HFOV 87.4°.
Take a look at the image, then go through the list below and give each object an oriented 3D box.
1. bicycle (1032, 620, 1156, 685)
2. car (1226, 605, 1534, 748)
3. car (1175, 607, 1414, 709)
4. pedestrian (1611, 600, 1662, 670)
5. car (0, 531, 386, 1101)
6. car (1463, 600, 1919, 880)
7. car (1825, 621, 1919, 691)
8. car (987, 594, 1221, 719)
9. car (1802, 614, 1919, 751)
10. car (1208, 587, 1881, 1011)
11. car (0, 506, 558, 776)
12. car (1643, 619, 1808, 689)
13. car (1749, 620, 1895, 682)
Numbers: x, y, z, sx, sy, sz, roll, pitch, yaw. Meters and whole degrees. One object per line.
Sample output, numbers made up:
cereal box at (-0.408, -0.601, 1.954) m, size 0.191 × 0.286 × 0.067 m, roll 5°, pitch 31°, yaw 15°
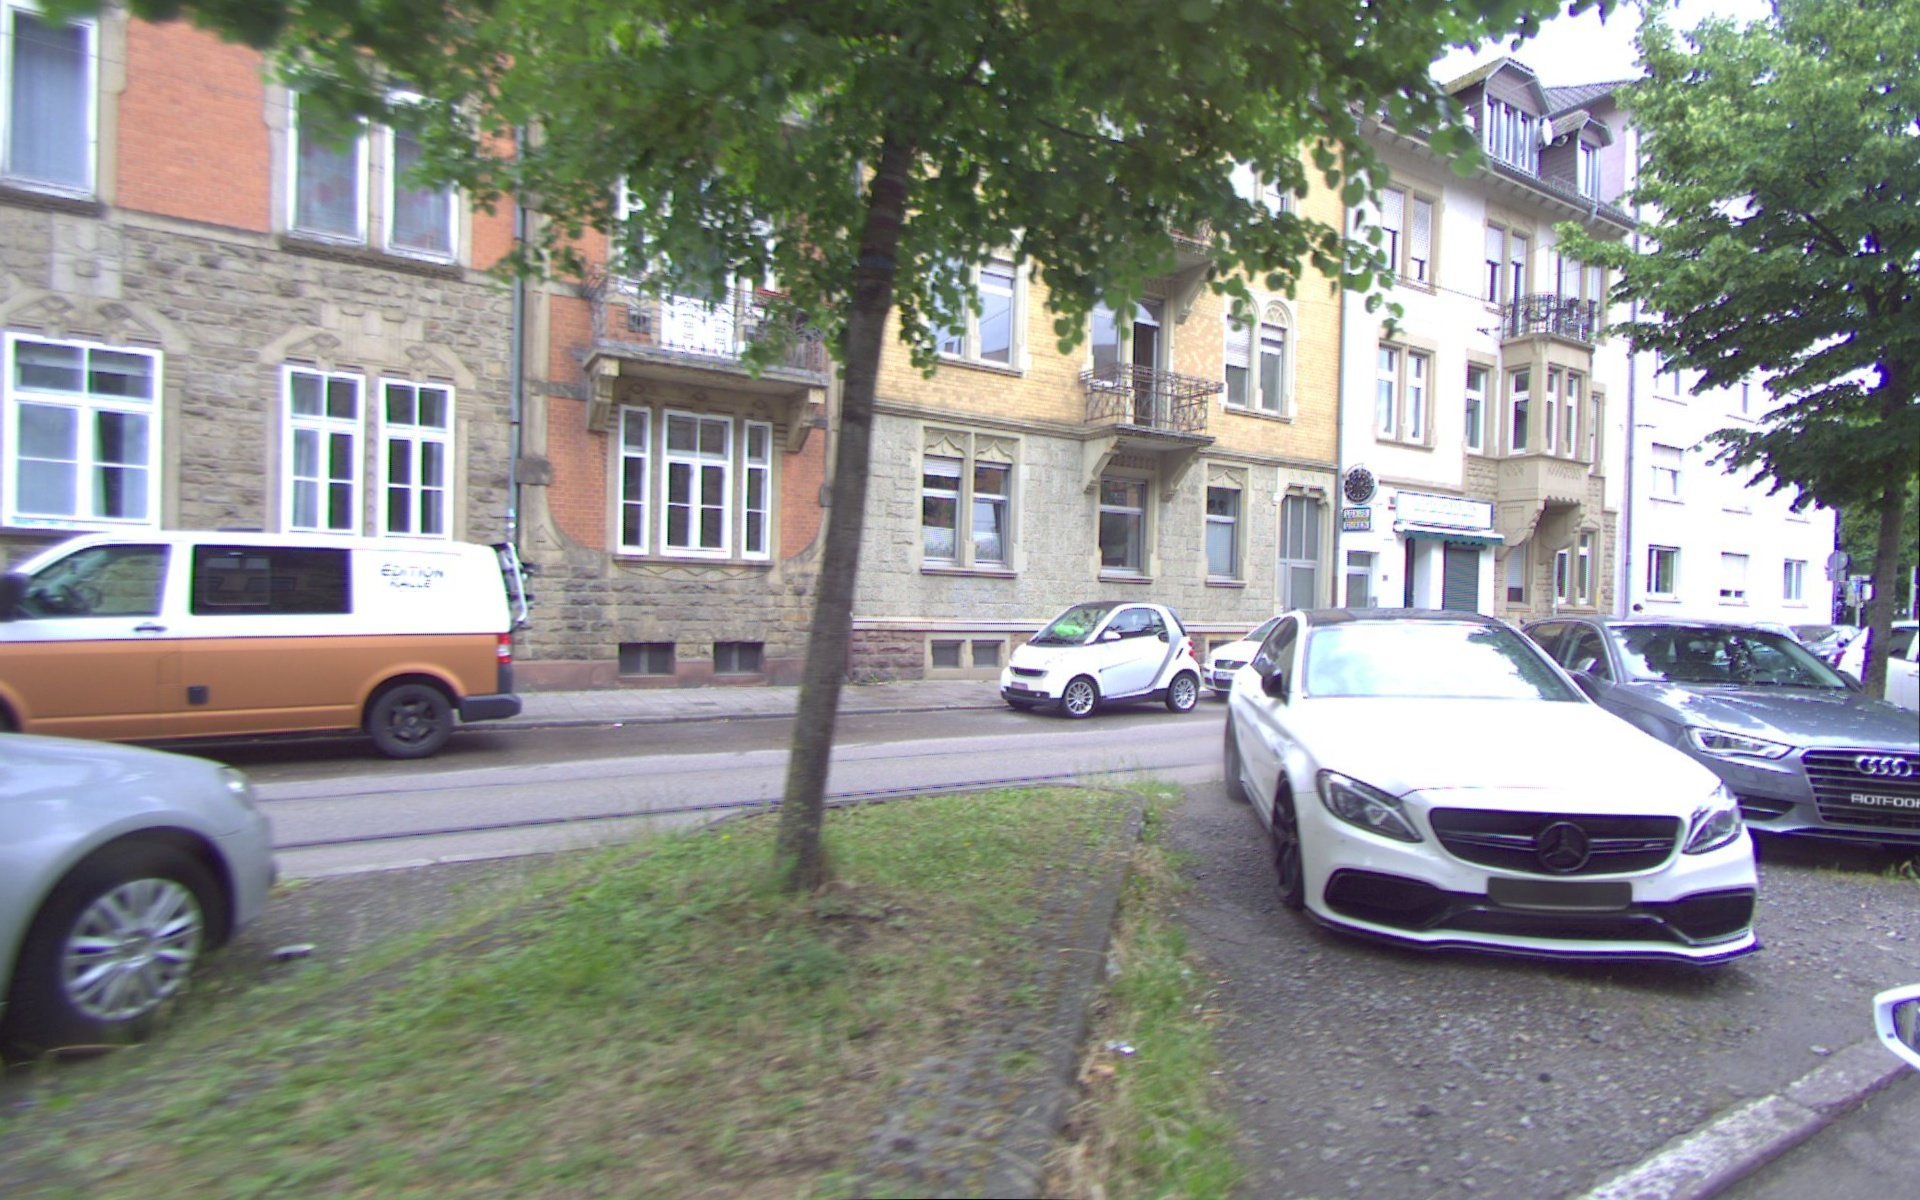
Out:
bicycle at (2.407, 0.922, 17.906) m, size 2.235 × 1.087 × 0.706 m, roll 1°, pitch 0°, yaw -33°
car at (5.329, 0.890, 12.640) m, size 3.840 × 1.524 × 1.635 m, roll 2°, pitch 0°, yaw -32°
car at (5.532, 0.902, 16.492) m, size 3.880 × 1.462 × 1.625 m, roll 1°, pitch 0°, yaw -33°
pedestrian at (17.718, 0.917, 26.323) m, size 0.890 × 1.790 × 0.793 m, roll 1°, pitch 0°, yaw -32°
car at (-3.513, 0.546, 2.091) m, size 1.760 × 1.504 × 4.120 m, roll 2°, pitch 0°, yaw 10°
car at (5.445, 0.782, 7.541) m, size 1.860 × 1.454 × 4.343 m, roll 3°, pitch 0°, yaw 12°
car at (21.045, 1.219, 22.334) m, size 3.840 × 1.401 × 1.635 m, roll 2°, pitch 0°, yaw -32°
car at (2.057, 0.749, 14.243) m, size 2.919 × 1.571 × 1.625 m, roll 1°, pitch 0°, yaw -32°
car at (11.360, 0.929, 10.968) m, size 1.655 × 1.482 × 3.866 m, roll 1°, pitch 0°, yaw 12°
car at (2.662, 0.710, 5.993) m, size 1.860 × 1.454 × 4.691 m, roll 1°, pitch 0°, yaw 9°
car at (-6.393, 0.329, 8.847) m, size 5.037 × 1.978 × 1.871 m, roll 2°, pitch 0°, yaw -32°
car at (18.161, 1.241, 23.772) m, size 4.520 × 1.462 × 1.625 m, roll 2°, pitch 0°, yaw -33°
car at (22.818, 1.313, 26.552) m, size 4.711 × 1.462 × 1.625 m, roll 2°, pitch 0°, yaw -33°
